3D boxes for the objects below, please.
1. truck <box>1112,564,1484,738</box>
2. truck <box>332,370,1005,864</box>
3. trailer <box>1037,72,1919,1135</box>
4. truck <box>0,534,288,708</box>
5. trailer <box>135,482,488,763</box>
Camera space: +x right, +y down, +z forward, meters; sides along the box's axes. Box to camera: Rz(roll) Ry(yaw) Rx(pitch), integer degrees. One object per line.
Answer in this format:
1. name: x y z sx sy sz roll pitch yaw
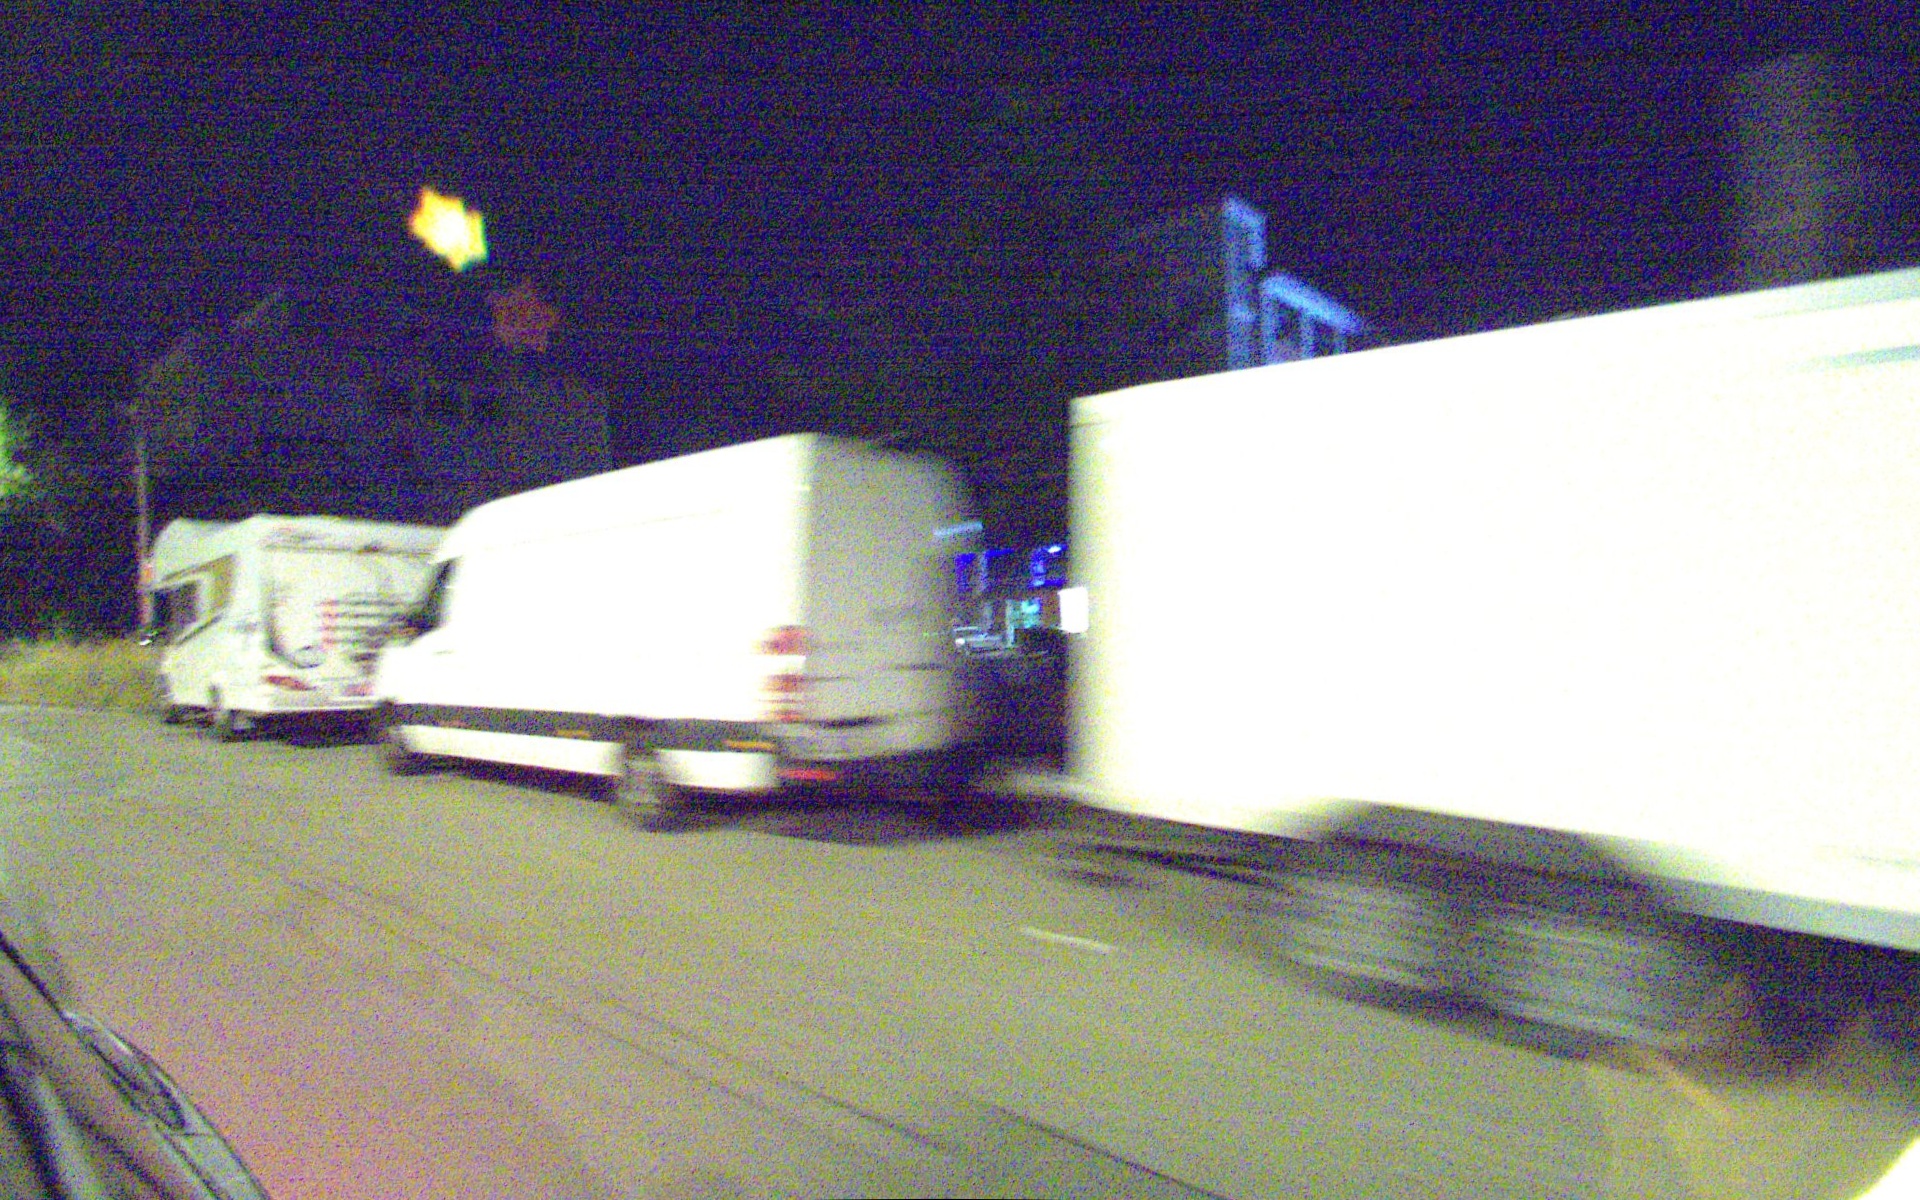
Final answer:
1. truck: 5.826 0.827 18.949 2.102 2.633 7.122 0 -1 -27
2. truck: -3.091 0.177 8.853 7.239 2.805 1.973 -2 -1 41
3. trailer: 2.496 0.039 4.008 3.999 2.786 1.975 -2 -2 42
4. truck: -18.055 0.461 21.736 9.313 3.088 2.720 -2 0 34
5. trailer: -9.818 0.336 14.813 7.954 3.096 2.455 -2 -1 43
